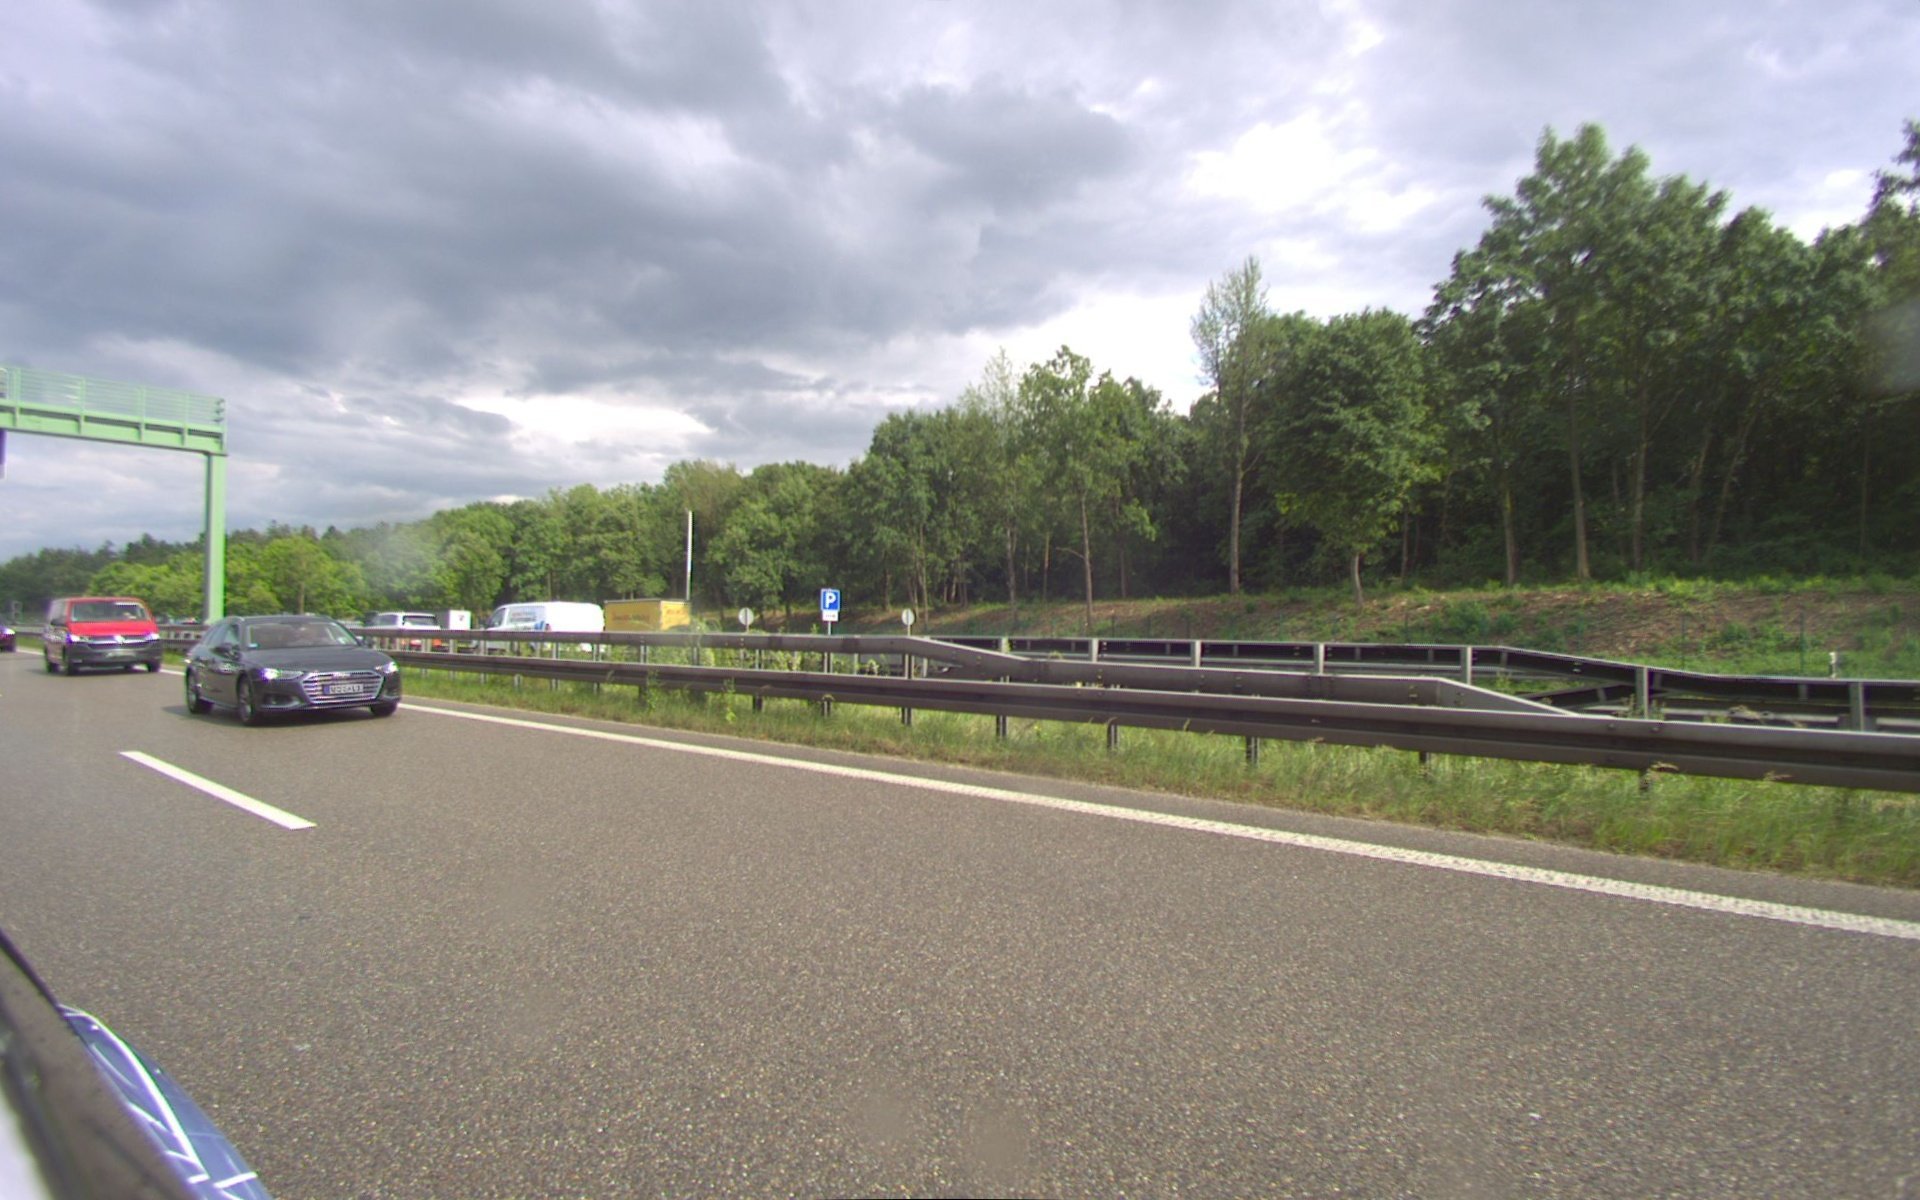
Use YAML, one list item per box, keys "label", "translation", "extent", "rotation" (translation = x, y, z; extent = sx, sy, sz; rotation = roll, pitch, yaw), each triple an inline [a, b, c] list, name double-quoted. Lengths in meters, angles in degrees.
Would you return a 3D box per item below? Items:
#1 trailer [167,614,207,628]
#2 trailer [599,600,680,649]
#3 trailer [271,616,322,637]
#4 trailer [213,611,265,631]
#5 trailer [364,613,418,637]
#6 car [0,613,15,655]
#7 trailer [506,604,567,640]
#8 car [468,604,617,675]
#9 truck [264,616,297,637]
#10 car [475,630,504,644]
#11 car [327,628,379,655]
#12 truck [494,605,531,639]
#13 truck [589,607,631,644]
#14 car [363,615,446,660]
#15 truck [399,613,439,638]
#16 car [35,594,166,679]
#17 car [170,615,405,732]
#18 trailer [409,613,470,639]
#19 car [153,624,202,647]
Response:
- label: "trailer"
  translation: [-146.078, 3.972, 191.222]
  extent: [9.839, 2.594, 2.511]
  rotation: [-1, -1, 30]
- label: "trailer"
  translation: [-26.648, 1.893, 83.563]
  extent: [1.967, 3.722, 13.689]
  rotation: [0, 0, -37]
- label: "trailer"
  translation: [-108.378, 4.344, 165.280]
  extent: [12.632, 3.296, 3.153]
  rotation: [-1, -2, 38]
- label: "trailer"
  translation: [-128.396, 3.725, 180.056]
  extent: [13.375, 3.296, 3.050]
  rotation: [-1, -2, 34]
- label: "trailer"
  translation: [-80.961, 3.540, 143.844]
  extent: [12.641, 3.296, 2.577]
  rotation: [-1, -3, 41]
- label: "car"
  translation: [-41.002, 1.408, 42.192]
  extent: [4.292, 1.682, 1.871]
  rotation: [-1, -1, 41]
- label: "trailer"
  translation: [-44.772, 2.331, 106.718]
  extent: [2.156, 3.627, 11.734]
  rotation: [2, -2, -41]
- label: "car"
  translation: [-12.186, 1.110, 29.431]
  extent: [4.613, 1.848, 1.975]
  rotation: [-1, 1, 38]
- label: "truck"
  translation: [-113.942, 4.431, 169.676]
  extent: [5.385, 3.280, 3.142]
  rotation: [-1, -3, 39]
- label: "car"
  translation: [-55.916, 4.392, 120.332]
  extent: [4.002, 1.514, 1.873]
  rotation: [-1, -2, 45]
- label: "car"
  translation: [-36.145, 2.434, 60.260]
  extent: [3.784, 1.493, 1.614]
  rotation: [-1, -1, 41]
- label: "truck"
  translation: [-49.629, 2.476, 112.259]
  extent: [2.136, 3.648, 5.585]
  rotation: [2, -2, -41]
- label: "truck"
  translation: [-30.886, 2.239, 89.269]
  extent: [1.950, 3.121, 5.087]
  rotation: [-1, 0, -37]
- label: "car"
  translation: [-24.810, 1.647, 45.118]
  extent: [4.287, 1.926, 1.904]
  rotation: [-1, -2, 41]
- label: "truck"
  translation: [-72.703, 3.446, 136.021]
  extent: [5.597, 3.208, 3.009]
  rotation: [-1, -2, 43]
- label: "car"
  translation: [-22.147, 0.901, 26.019]
  extent: [4.747, 2.000, 1.871]
  rotation: [-1, -1, 41]
- label: "car"
  translation: [-9.783, 0.940, 14.587]
  extent: [4.465, 1.422, 1.701]
  rotation: [-1, -1, 41]
- label: "trailer"
  translation: [-67.623, 3.336, 131.339]
  extent: [12.173, 3.217, 2.986]
  rotation: [-1, -2, 43]
- label: "car"
  translation: [-54.328, 2.452, 70.214]
  extent: [3.997, 1.592, 1.902]
  rotation: [-1, -2, 41]
